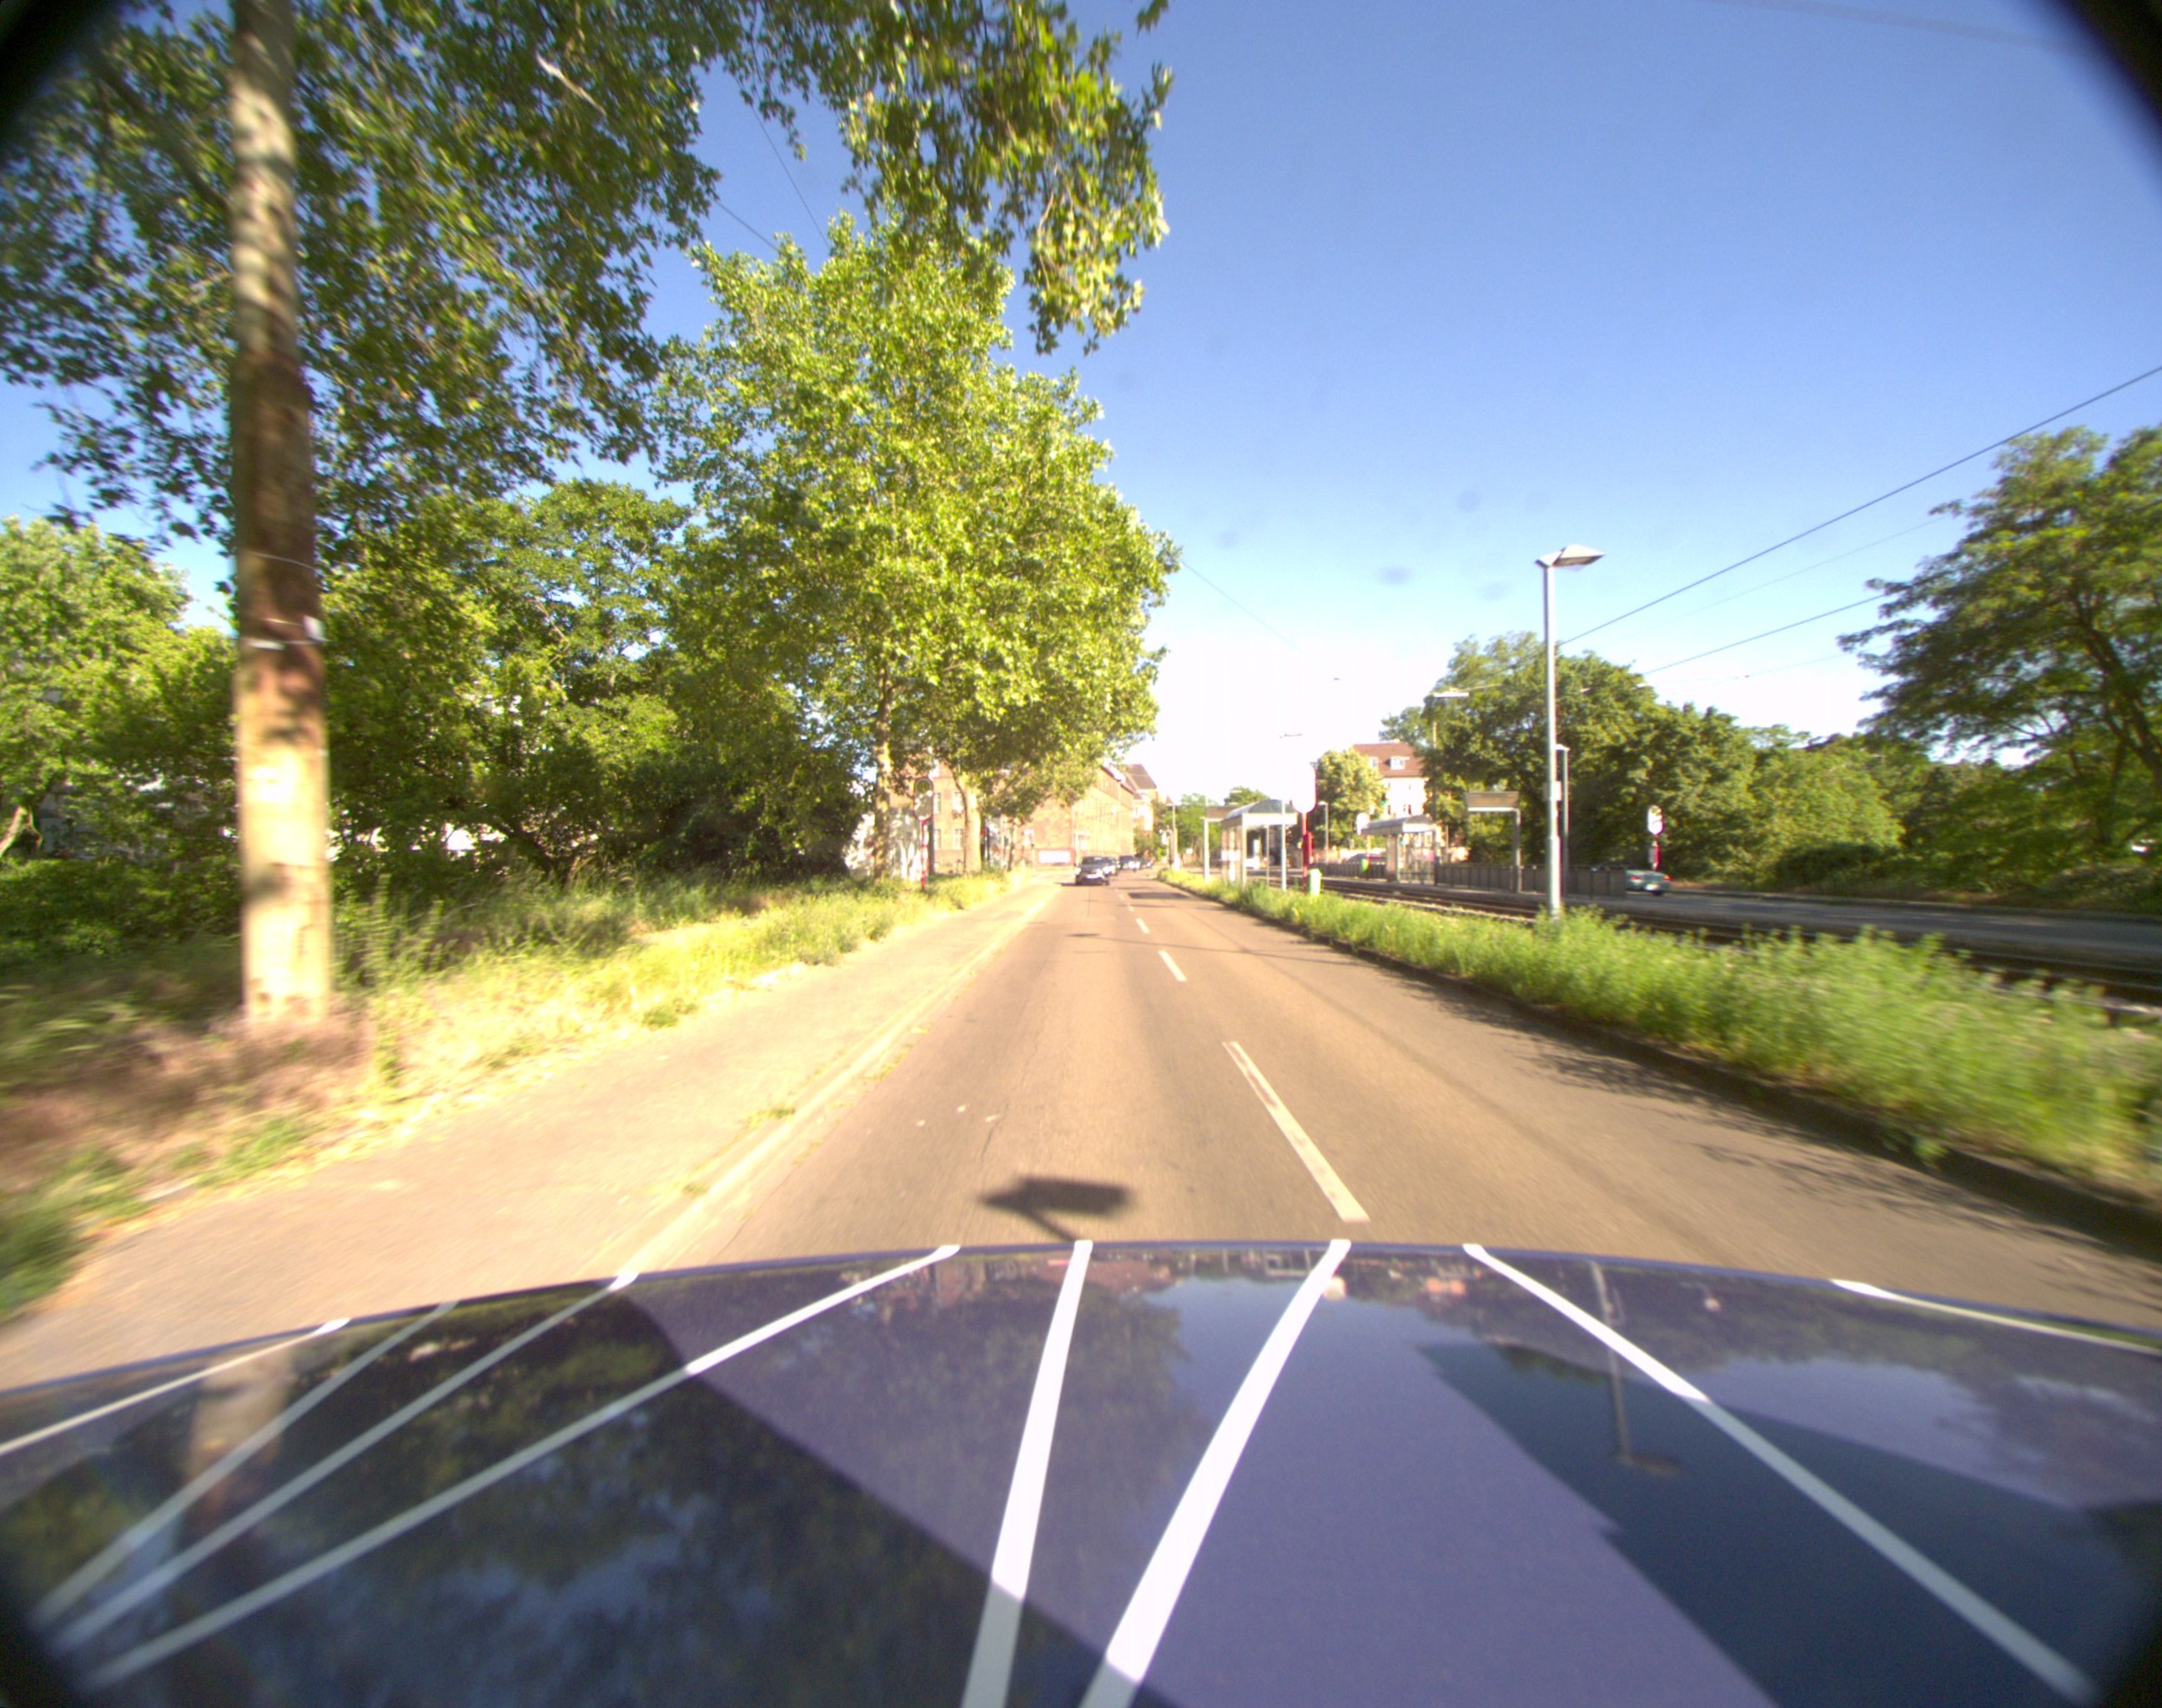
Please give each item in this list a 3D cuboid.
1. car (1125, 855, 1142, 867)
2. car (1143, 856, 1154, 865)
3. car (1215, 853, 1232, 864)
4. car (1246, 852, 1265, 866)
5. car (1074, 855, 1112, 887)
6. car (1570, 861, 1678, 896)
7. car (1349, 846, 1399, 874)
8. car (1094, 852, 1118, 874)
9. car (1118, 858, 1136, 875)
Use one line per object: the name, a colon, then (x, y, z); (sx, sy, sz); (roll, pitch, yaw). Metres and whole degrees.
car: (6.549, 0.857, 94.054); (1.649, 1.319, 3.486); (-2, 1, 11)
car: (9.461, 0.910, 106.786); (1.405, 1.205, 3.240); (-2, 1, 5)
car: (19.747, 0.612, 105.372); (1.852, 1.478, 3.548); (-2, 1, 6)
car: (19.263, 0.541, 83.928); (1.852, 1.371, 3.442); (-2, 1, 11)
car: (0.624, 0.842, 39.141); (1.808, 1.478, 3.546); (-2, 1, 0)
car: (20.232, 0.877, 28.502); (1.493, 1.112, 3.676); (-2, 1, 2)
car: (17.449, 0.308, 45.427); (1.613, 1.548, 3.673); (-2, 1, 2)
car: (1.903, 0.662, 58.042); (1.714, 1.478, 3.547); (-2, 1, 2)
car: (4.347, 1.135, 72.179); (1.590, 1.478, 3.547); (-2, 1, 2)
